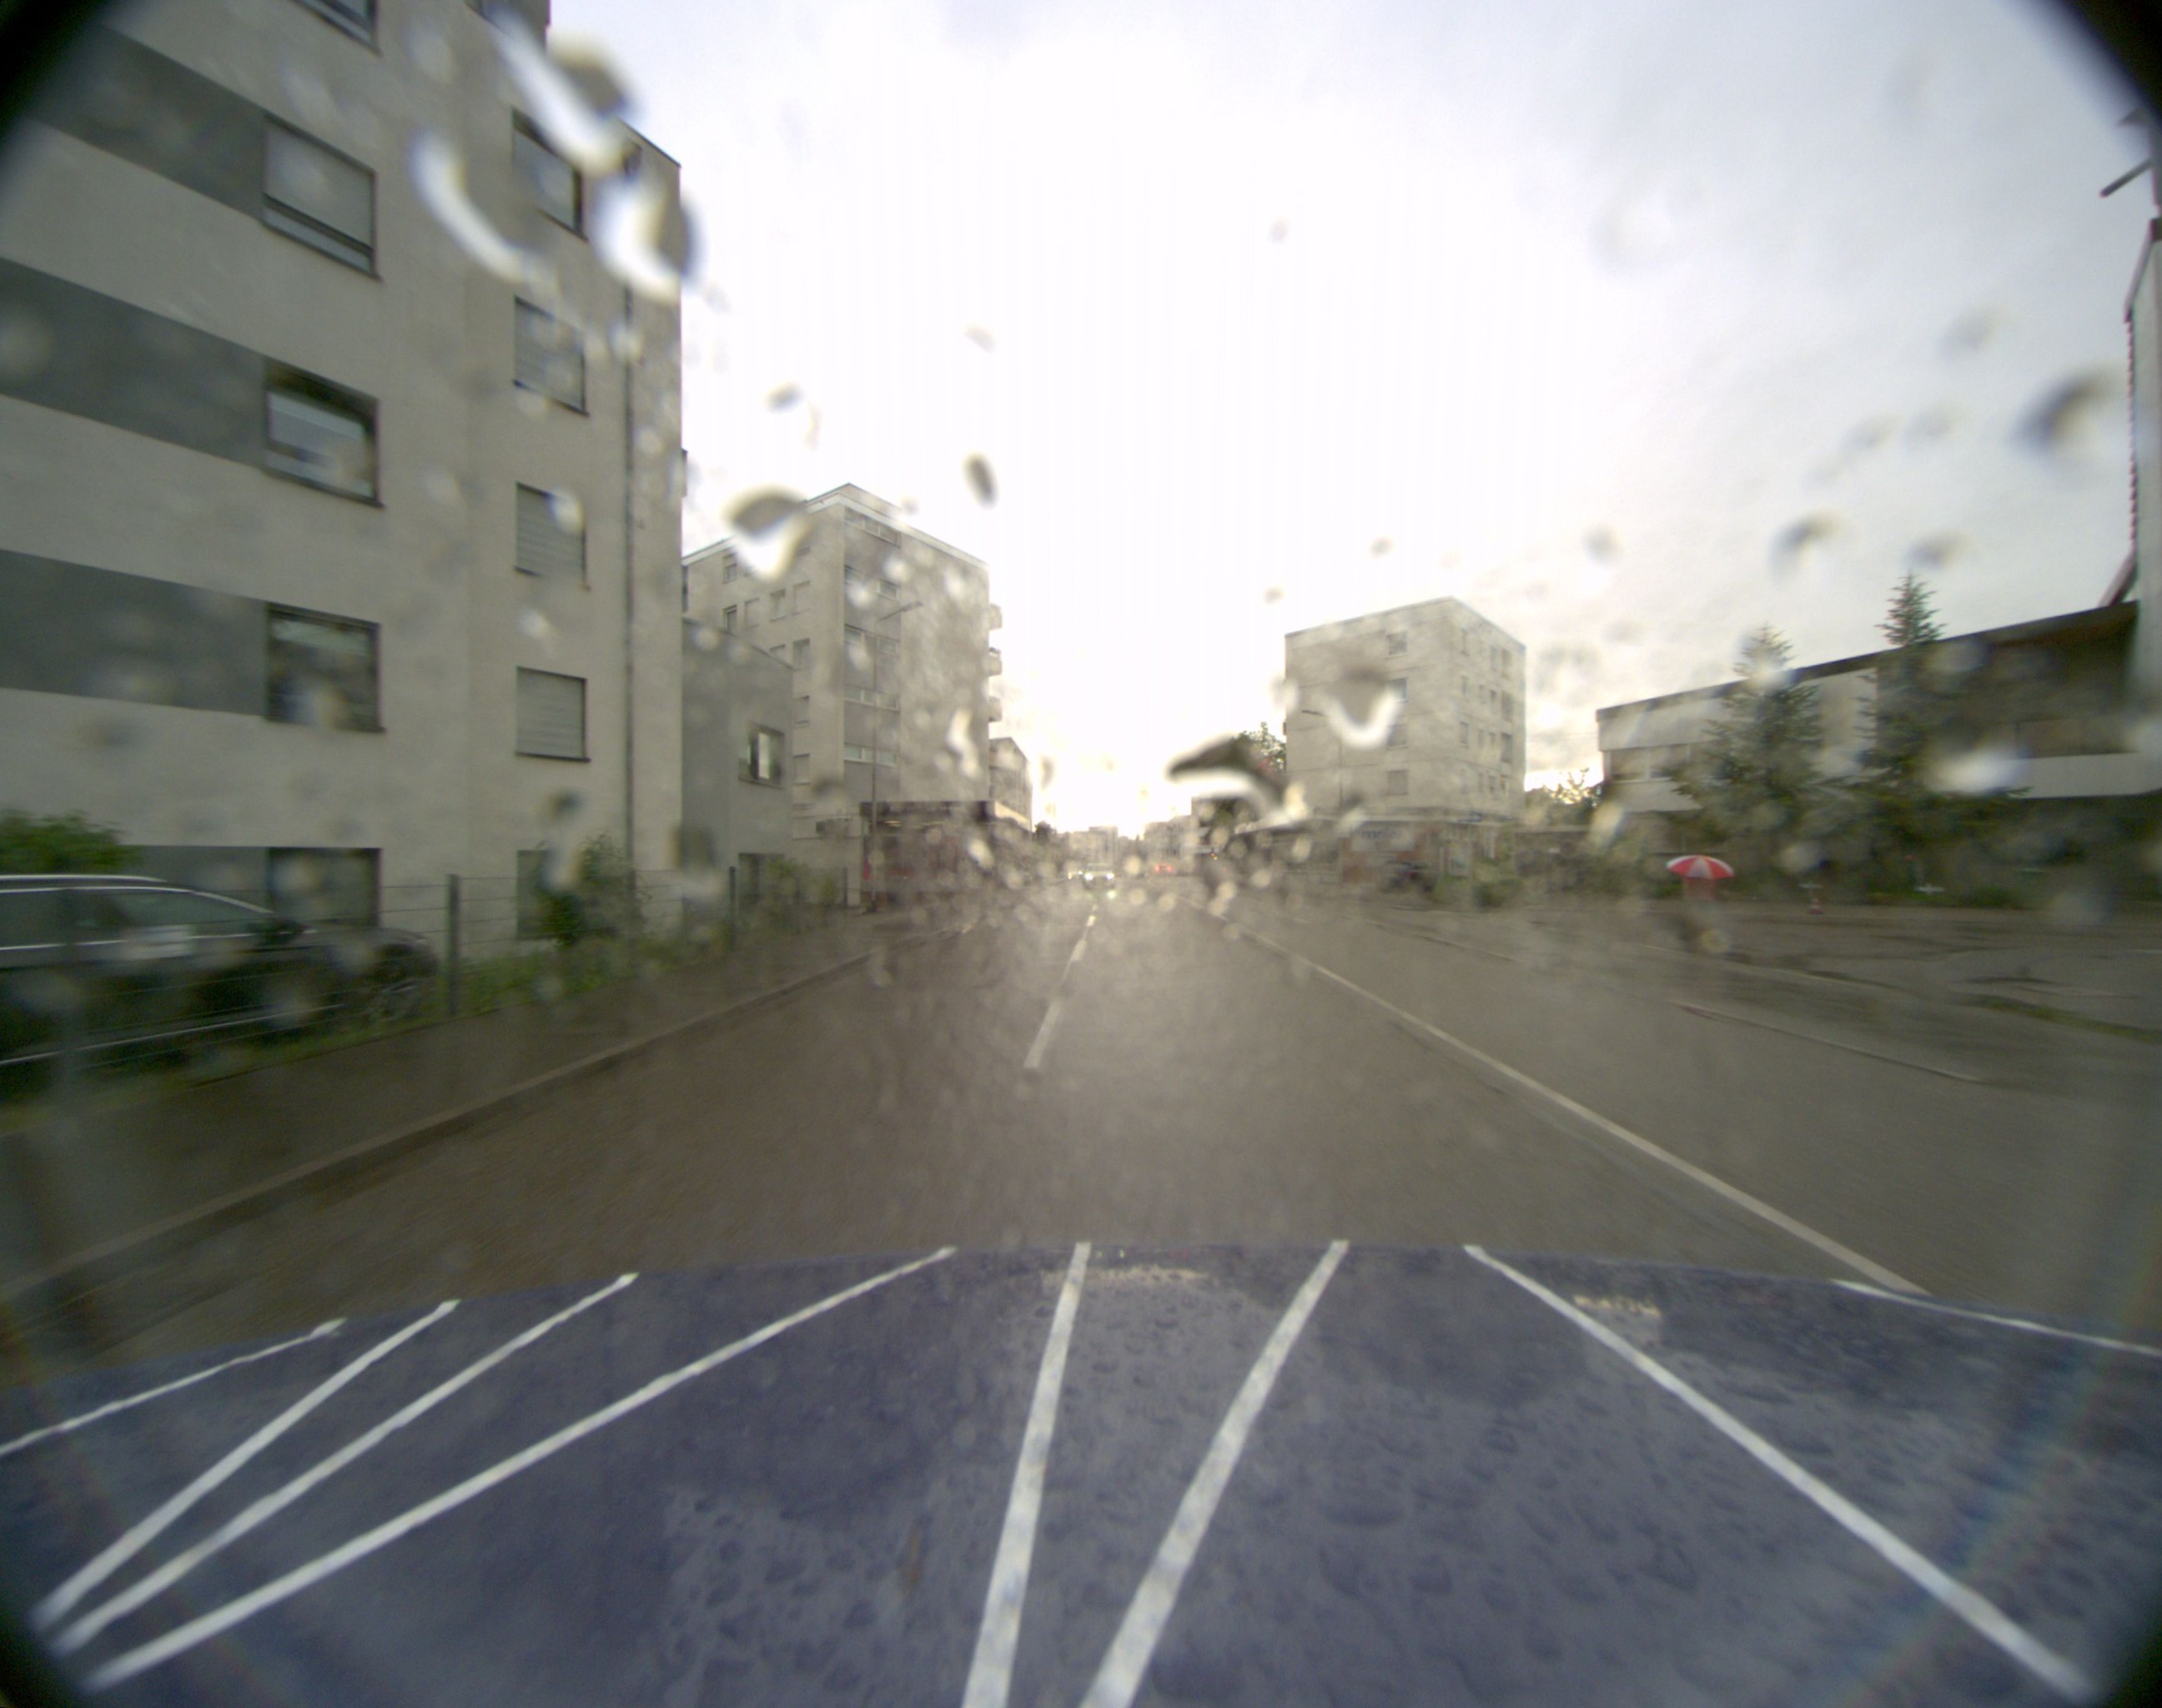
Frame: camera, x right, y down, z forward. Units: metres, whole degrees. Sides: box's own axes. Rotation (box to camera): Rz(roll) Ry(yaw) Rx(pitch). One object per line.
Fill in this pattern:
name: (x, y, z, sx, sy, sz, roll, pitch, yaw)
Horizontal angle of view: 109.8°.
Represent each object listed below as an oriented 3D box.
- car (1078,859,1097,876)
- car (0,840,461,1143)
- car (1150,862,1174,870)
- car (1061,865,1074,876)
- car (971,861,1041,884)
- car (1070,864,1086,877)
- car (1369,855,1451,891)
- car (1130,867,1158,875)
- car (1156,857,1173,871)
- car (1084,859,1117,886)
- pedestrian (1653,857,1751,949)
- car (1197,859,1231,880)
car: (0.845, 1.706, 92.998, 1.998, 2.001, 4.002, 0, -1, 5)
car: (-7.284, 0.808, 5.226, 1.998, 1.775, 4.692, 0, 0, 4)
car: (15.997, 2.400, 150.560, 4.621, 1.487, 1.930, 0, -1, 4)
car: (-2.371, 2.952, 137.551, 1.998, 2.001, 4.002, 0, -1, 4)
car: (-4.891, 1.223, 49.412, 4.259, 1.485, 1.877, -1, -2, 30)
car: (-0.461, 2.507, 117.857, 1.998, 2.001, 4.002, 0, -1, 5)
car: (15.131, 0.820, 34.832, 1.994, 1.537, 4.480, 1, 1, 44)
car: (12.806, 3.478, 155.208, 5.465, 1.673, 2.153, -2, -2, 37)
car: (9.273, 1.154, 84.704, 1.806, 1.547, 4.321, -1, -1, 6)
car: (1.080, 1.064, 44.120, 1.829, 1.431, 4.346, -1, -1, 0)
pedestrian: (11.420, 0.875, 14.017, 0.872, 1.598, 1.103, 0, 1, -4)
car: (9.434, 1.107, 54.024, 1.702, 1.400, 4.001, 2, -1, 0)
